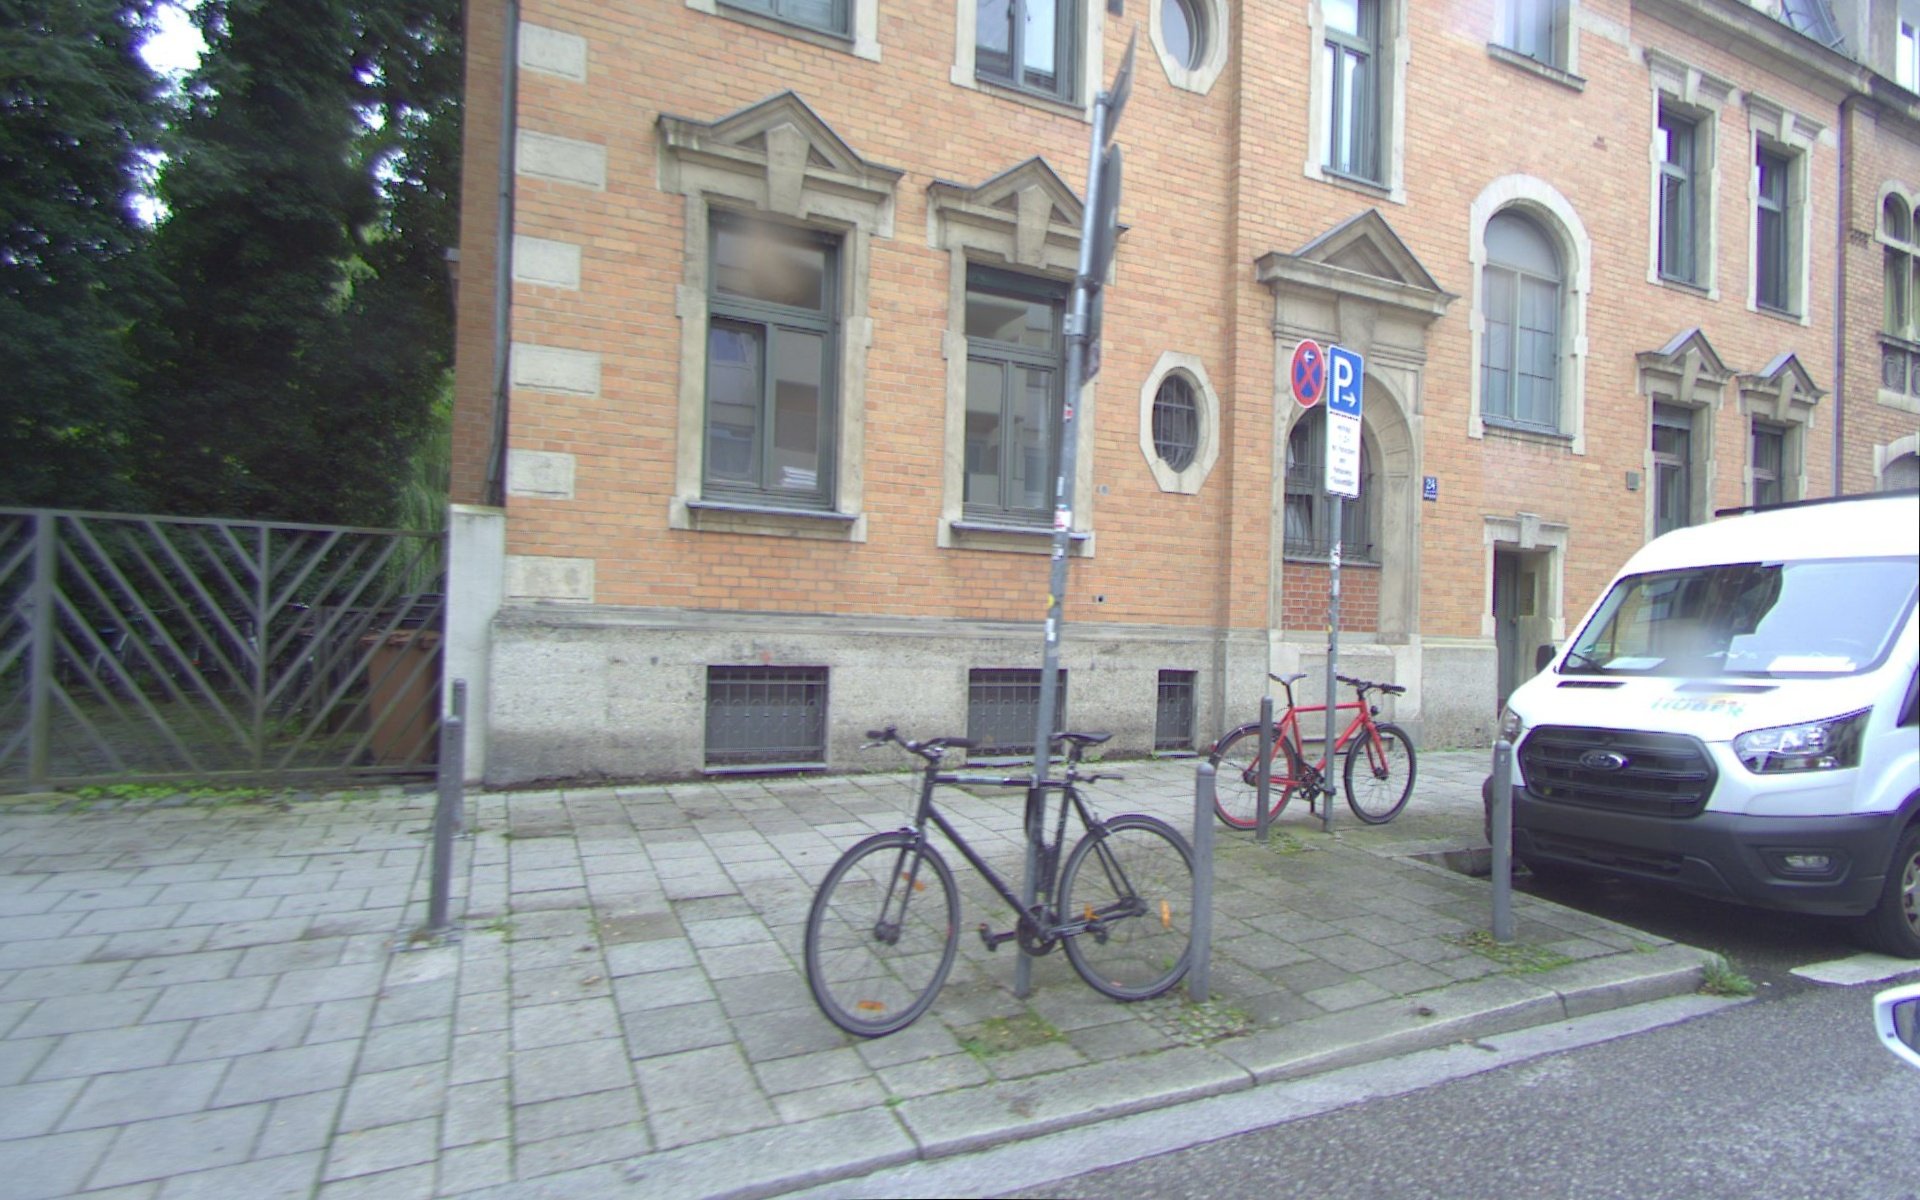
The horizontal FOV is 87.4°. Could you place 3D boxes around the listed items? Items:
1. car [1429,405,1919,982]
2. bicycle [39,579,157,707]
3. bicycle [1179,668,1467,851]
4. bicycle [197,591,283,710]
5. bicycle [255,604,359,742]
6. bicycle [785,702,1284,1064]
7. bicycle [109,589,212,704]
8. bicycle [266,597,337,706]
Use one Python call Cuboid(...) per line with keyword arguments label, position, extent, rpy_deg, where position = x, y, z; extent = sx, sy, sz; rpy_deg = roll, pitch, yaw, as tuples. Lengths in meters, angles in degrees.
Cuboid(label="car", position=(5.734, 0.546, 6.426), extent=(5.397, 2.500, 1.987), rpy_deg=(3, -3, -25))
Cuboid(label="bicycle", position=(-9.684, 0.463, 11.367), extent=(0.529, 1.300, 2.284), rpy_deg=(2, -2, -29))
Cuboid(label="bicycle", position=(2.428, 1.019, 6.691), extent=(1.867, 1.068, 0.578), rpy_deg=(2, 0, -22))
Cuboid(label="bicycle", position=(-8.438, 0.565, 11.845), extent=(0.529, 1.268, 2.284), rpy_deg=(2, -2, -29))
Cuboid(label="bicycle", position=(-6.451, 0.676, 10.002), extent=(0.529, 1.235, 2.070), rpy_deg=(2, -2, -25))
Cuboid(label="bicycle", position=(0.290, 0.936, 3.696), extent=(1.737, 1.068, 0.578), rpy_deg=(2, -2, -22))
Cuboid(label="bicycle", position=(-9.177, 0.510, 11.603), extent=(0.529, 1.201, 2.284), rpy_deg=(2, -2, -29))
Cuboid(label="bicycle", position=(-7.932, 0.596, 12.162), extent=(0.529, 1.195, 2.284), rpy_deg=(2, -2, -29))
